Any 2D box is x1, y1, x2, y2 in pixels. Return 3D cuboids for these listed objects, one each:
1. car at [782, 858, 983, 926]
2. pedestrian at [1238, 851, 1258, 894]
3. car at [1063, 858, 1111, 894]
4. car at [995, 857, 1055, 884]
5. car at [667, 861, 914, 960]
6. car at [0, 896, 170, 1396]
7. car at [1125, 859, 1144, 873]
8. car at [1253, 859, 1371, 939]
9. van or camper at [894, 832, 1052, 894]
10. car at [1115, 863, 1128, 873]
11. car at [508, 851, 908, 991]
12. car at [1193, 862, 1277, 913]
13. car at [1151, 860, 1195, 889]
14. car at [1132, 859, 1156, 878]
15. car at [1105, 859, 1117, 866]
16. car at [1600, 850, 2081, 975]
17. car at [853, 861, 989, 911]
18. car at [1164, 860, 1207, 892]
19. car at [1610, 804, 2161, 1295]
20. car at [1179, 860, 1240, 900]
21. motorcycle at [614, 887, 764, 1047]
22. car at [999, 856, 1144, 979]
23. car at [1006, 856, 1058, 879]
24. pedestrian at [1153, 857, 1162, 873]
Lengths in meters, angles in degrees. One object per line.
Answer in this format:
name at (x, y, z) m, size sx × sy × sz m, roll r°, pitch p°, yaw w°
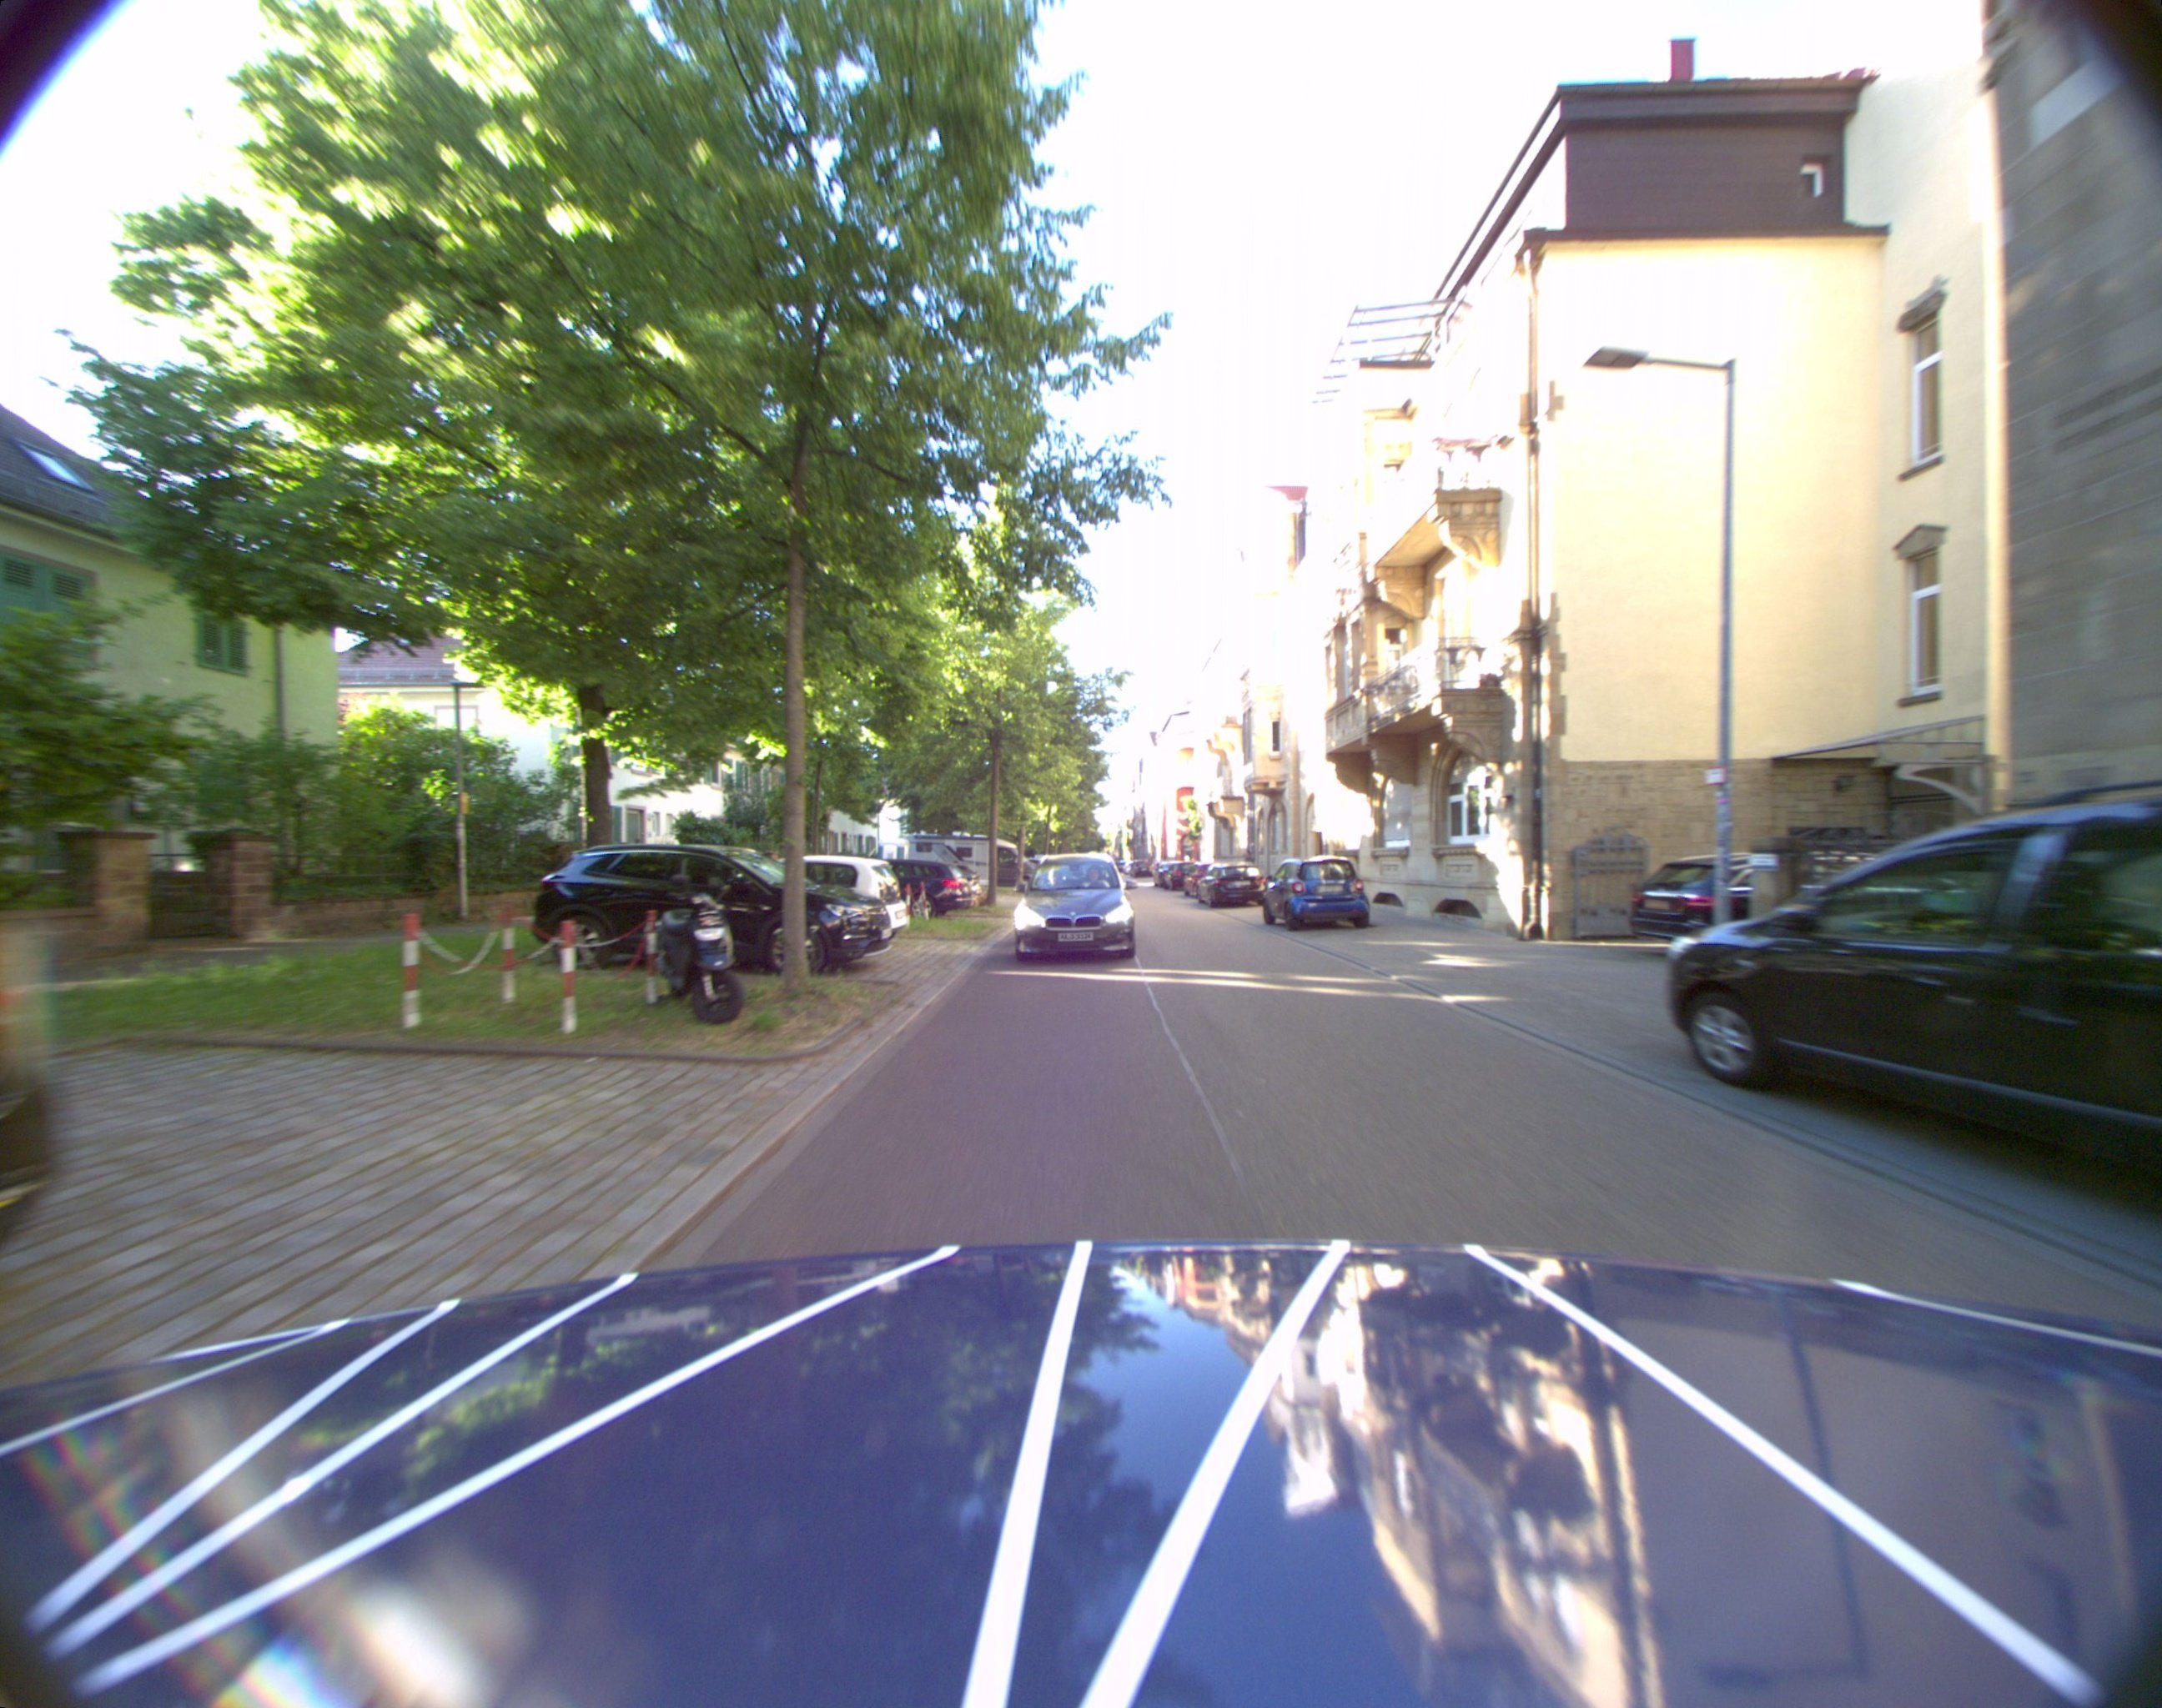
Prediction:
car at (-4.842, 0.902, 18.908) m, size 4.468 × 1.469 × 1.753 m, roll 2°, pitch 0°, yaw 2°
pedestrian at (7.183, 0.784, 32.691) m, size 0.695 × 1.837 × 0.497 m, roll -2°, pitch 0°, yaw 2°
car at (0.316, 0.973, 35.559) m, size 1.998 × 1.510 × 4.652 m, roll -3°, pitch 0°, yaw 1°
car at (-3.890, 1.131, 53.273) m, size 3.997 × 1.803 × 2.000 m, roll 0°, pitch 0°, yaw 1°
car at (-4.718, 0.887, 12.691) m, size 3.456 × 1.467 × 1.694 m, roll 1°, pitch 0°, yaw 1°
car at (-5.131, 0.847, 1.671) m, size 3.886 × 1.464 × 1.786 m, roll 2°, pitch 0°, yaw -4°
car at (6.099, 1.391, 86.927) m, size 1.922 × 1.510 × 4.000 m, roll 0°, pitch 0°, yaw 1°
car at (4.985, 0.914, 16.771) m, size 1.688 × 1.500 × 2.861 m, roll -4°, pitch 0°, yaw 1°
van or camper at (-5.099, 0.396, 36.748) m, size 7.266 × 2.887 × 2.427 m, roll 0°, pitch 1°, yaw 1°
car at (5.662, 1.982, 107.057) m, size 1.702 × 1.372 × 4.000 m, roll 0°, pitch 0°, yaw 1°
car at (-4.715, 0.812, 10.118) m, size 4.344 × 1.599 × 1.928 m, roll 1°, pitch 1°, yaw 0°
car at (5.106, 1.048, 25.815) m, size 1.905 × 1.430 × 4.542 m, roll -4°, pitch 0°, yaw 1°
car at (5.334, 1.166, 44.589) m, size 1.893 × 1.448 × 4.511 m, roll -4°, pitch -1°, yaw -1°
car at (5.865, 1.358, 70.881) m, size 1.862 × 1.594 × 4.000 m, roll -3°, pitch 0°, yaw 1°
car at (6.874, 1.906, 171.781) m, size 2.000 × 1.529 × 3.998 m, roll -3°, pitch 0°, yaw -7°
car at (10.039, 0.731, 10.407) m, size 4.400 × 1.429 × 2.069 m, roll -2°, pitch 0°, yaw 3°
car at (-5.076, 0.994, 24.591) m, size 3.998 × 1.510 × 1.999 m, roll 0°, pitch 1°, yaw -2°
car at (5.272, 1.078, 38.740) m, size 1.747 × 1.457 × 3.999 m, roll -2°, pitch 0°, yaw 2°
car at (4.925, 0.716, 3.543) m, size 1.774 × 1.841 × 4.542 m, roll -2°, pitch 0°, yaw 1°
car at (5.285, 1.033, 31.646) m, size 1.694 × 1.457 × 3.773 m, roll -5°, pitch 0°, yaw -1°
motorcycle at (-3.568, 0.923, 6.844) m, size 0.739 × 1.190 × 1.771 m, roll 0°, pitch 0°, yaw -43°
car at (-0.084, 0.891, 12.717) m, size 1.924 × 1.597 × 4.517 m, roll -3°, pitch 0°, yaw 1°
car at (-4.145, 1.110, 64.161) m, size 3.994 × 1.870 × 2.002 m, roll 0°, pitch 0°, yaw 10°
pedestrian at (7.896, 1.127, 78.246) m, size 0.779 × 1.692 × 1.010 m, roll 0°, pitch 0°, yaw 1°
